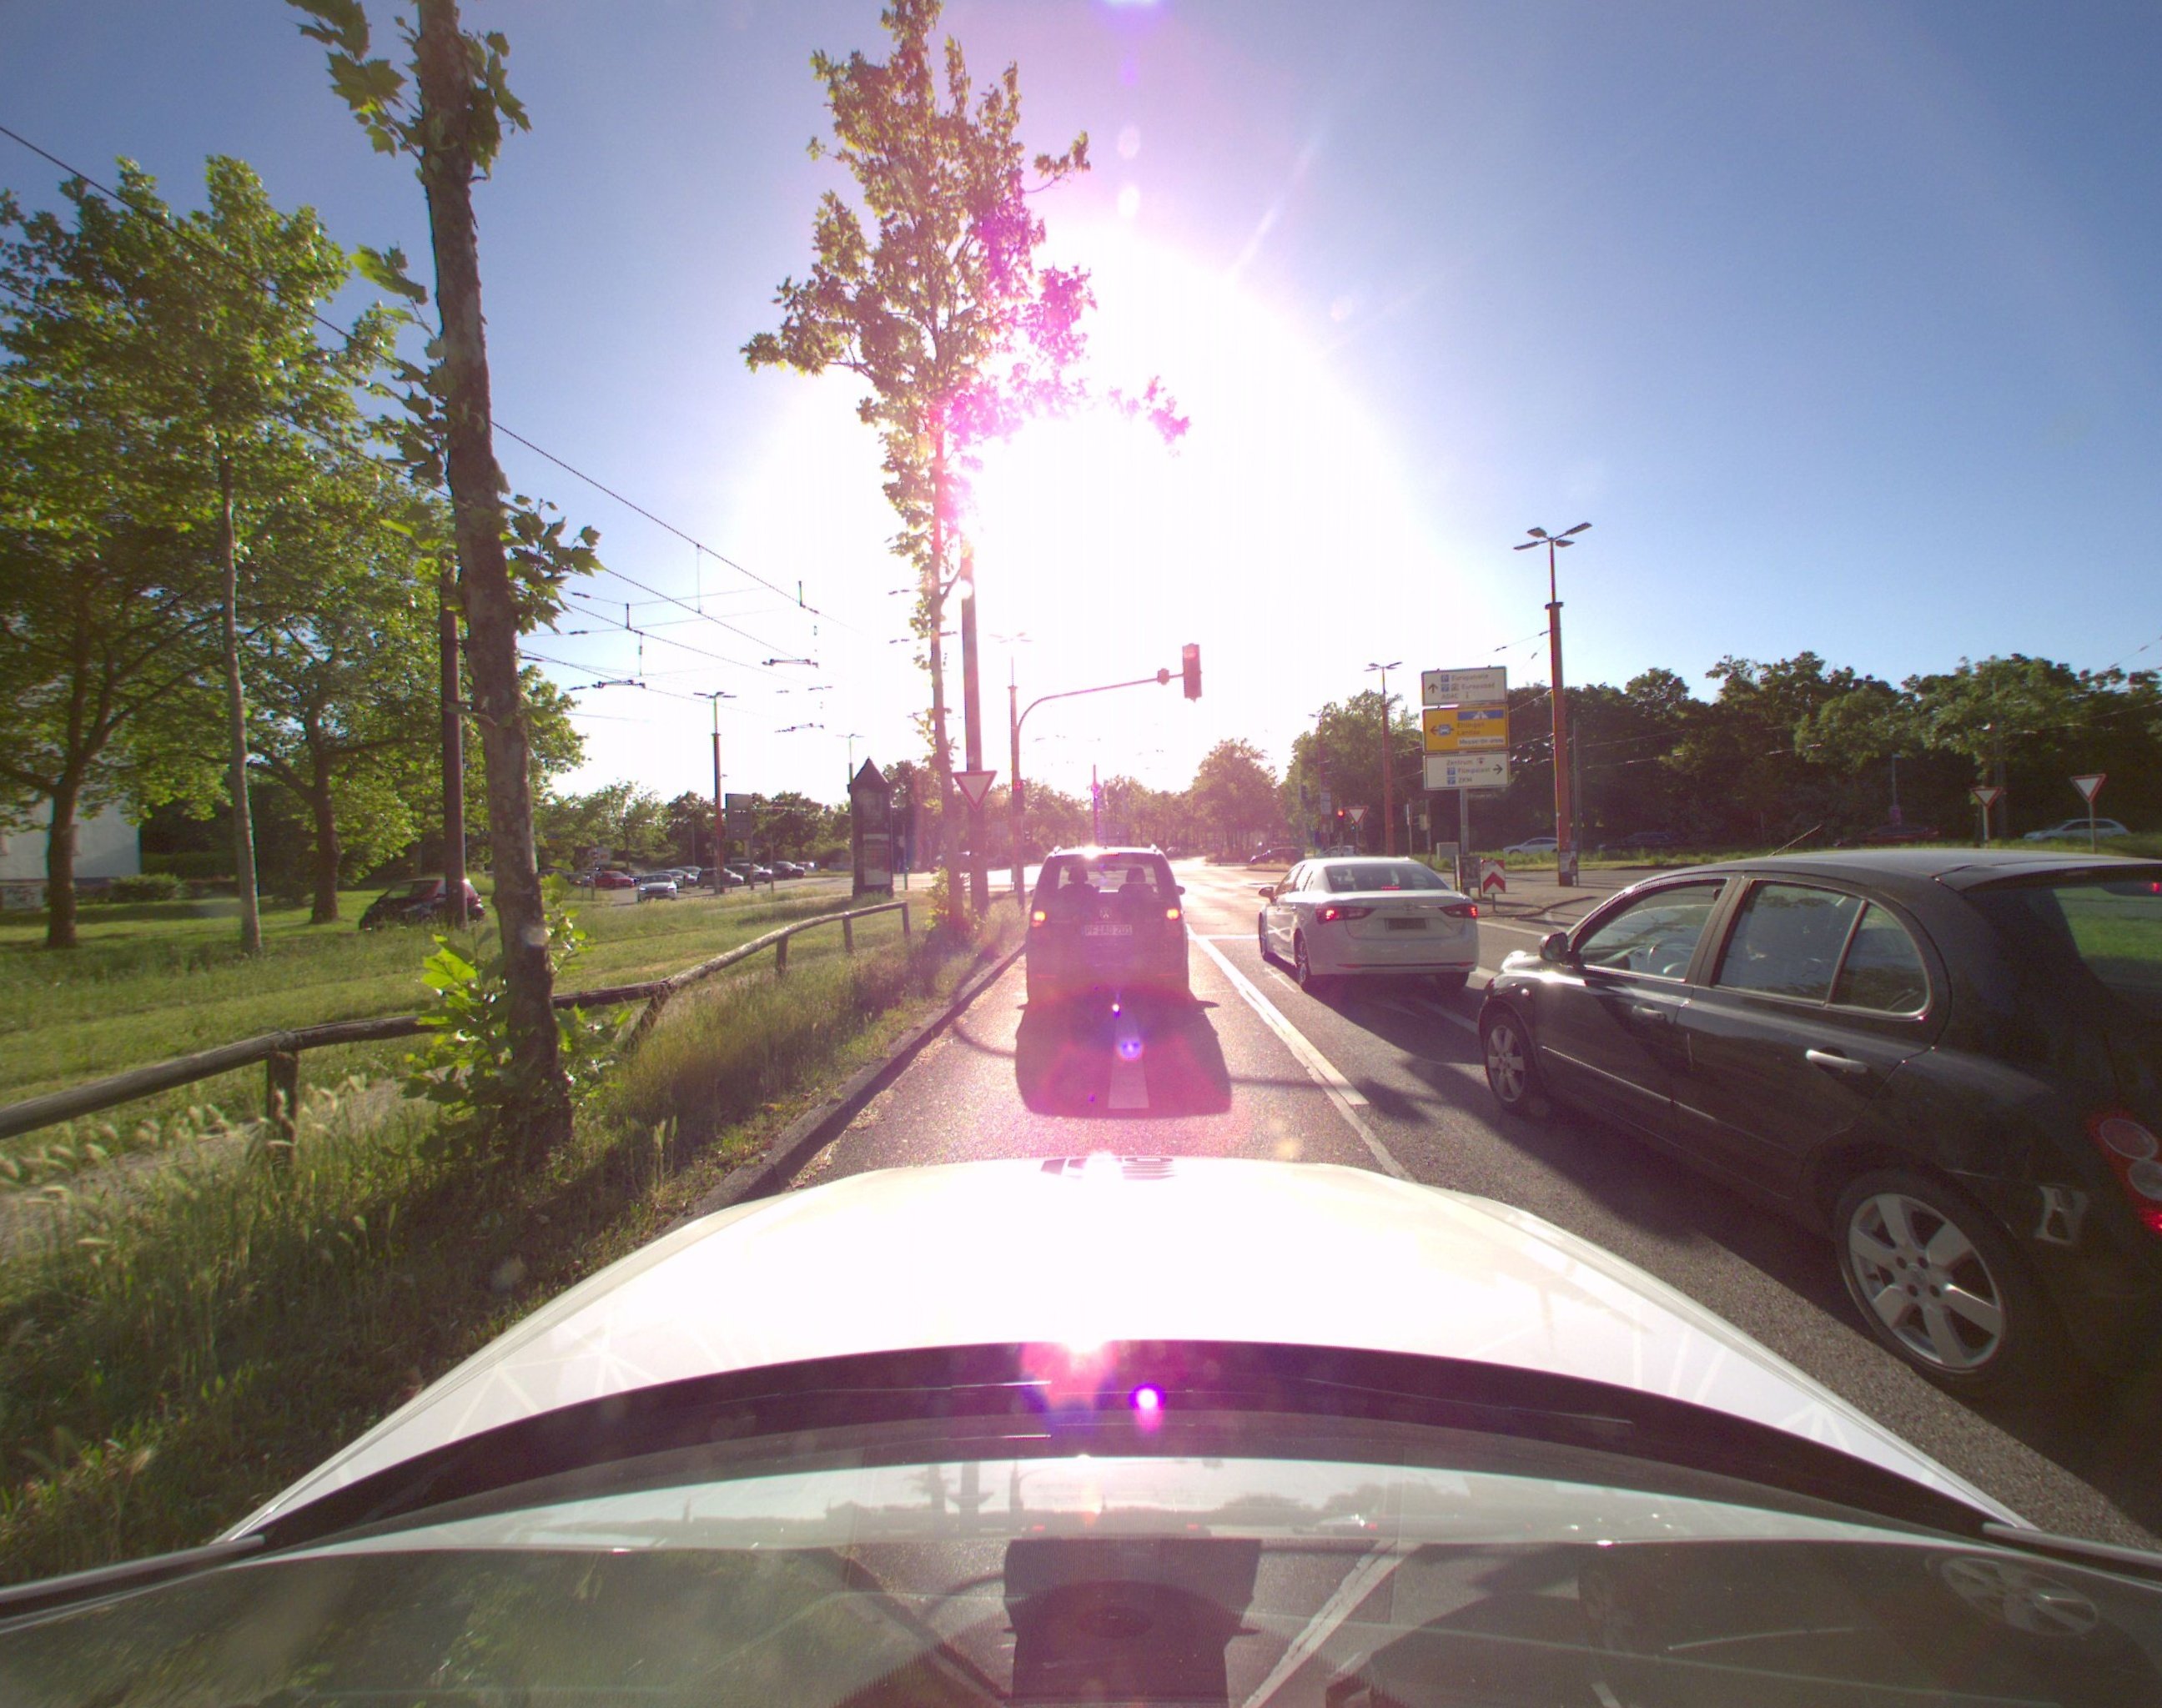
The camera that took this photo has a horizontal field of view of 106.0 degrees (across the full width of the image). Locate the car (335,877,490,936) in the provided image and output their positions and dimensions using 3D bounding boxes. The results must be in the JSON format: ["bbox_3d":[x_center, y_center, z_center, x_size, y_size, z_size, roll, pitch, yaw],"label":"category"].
[{"bbox_3d":[-18.146,1.381,22.258,1.791,1.390,2.850,-2,0,2],"label":"car"}]

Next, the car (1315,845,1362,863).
[{"bbox_3d":[20.446,0.014,64.751,3.404,1.368,1.298,0,-1,28],"label":"car"}]

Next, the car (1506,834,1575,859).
[{"bbox_3d":[32.627,-0.528,57.942,4.189,1.681,1.713,-2,0,29],"label":"car"}]

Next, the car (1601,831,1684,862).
[{"bbox_3d":[36.199,-0.482,52.647,4.154,1.883,1.777,-2,0,25],"label":"car"}]

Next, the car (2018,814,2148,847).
[{"bbox_3d":[52.575,-1.204,42.839,3.961,1.527,1.718,-2,0,30],"label":"car"}]

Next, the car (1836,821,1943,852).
[{"bbox_3d":[48.526,-1.043,48.997,4.249,1.705,1.858,-2,0,31],"label":"car"}]

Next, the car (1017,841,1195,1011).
[{"bbox_3d":[0.298,0.701,9.928,1.694,1.621,3.898,-2,0,1],"label":"car"}]

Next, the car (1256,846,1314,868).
[{"bbox_3d":[15.903,0.252,63.511,3.987,1.596,2.012,-2,0,25],"label":"car"}]

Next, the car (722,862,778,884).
[{"bbox_3d":[-26.593,1.544,65.350,3.950,1.644,2.012,-2,0,26],"label":"car"}]

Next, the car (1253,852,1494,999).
[{"bbox_3d":[3.330,0.710,10.150,1.713,1.438,4.202,-1,0,3],"label":"car"}]

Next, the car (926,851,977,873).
[{"bbox_3d":[-12.524,0.757,78.633,4.528,2.013,2.012,-2,0,26],"label":"car"}]

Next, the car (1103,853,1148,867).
[{"bbox_3d":[4.058,0.539,73.989,3.793,1.264,1.612,0,-1,25],"label":"car"}]

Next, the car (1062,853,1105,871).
[{"bbox_3d":[0.218,0.662,70.648,3.363,1.457,1.473,-2,0,25],"label":"car"}]

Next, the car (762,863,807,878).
[{"bbox_3d":[-26.527,1.480,72.846,3.948,1.330,1.709,-2,0,33],"label":"car"}]

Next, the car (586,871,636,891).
[{"bbox_3d":[-39.423,2.259,68.254,3.949,1.513,1.743,-2,0,27],"label":"car"}]

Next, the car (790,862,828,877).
[{"bbox_3d":[-31.746,1.777,94.906,4.081,1.644,1.864,-2,0,28],"label":"car"}]

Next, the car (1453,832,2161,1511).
[{"bbox_3d":[3.227,0.692,3.588,1.647,1.500,3.617,-1,0,2],"label":"car"}]

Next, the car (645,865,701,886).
[{"bbox_3d":[-32.411,1.709,64.720,4.135,1.612,1.880,-2,0,27],"label":"car"}]

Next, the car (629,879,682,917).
[{"bbox_3d":[-22.786,2.299,43.729,2.001,1.731,4.810,-1,0,-22],"label":"car"}]

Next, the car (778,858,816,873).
[{"bbox_3d":[-30.549,1.277,87.677,3.783,1.523,1.705,-2,0,27],"label":"car"}]
